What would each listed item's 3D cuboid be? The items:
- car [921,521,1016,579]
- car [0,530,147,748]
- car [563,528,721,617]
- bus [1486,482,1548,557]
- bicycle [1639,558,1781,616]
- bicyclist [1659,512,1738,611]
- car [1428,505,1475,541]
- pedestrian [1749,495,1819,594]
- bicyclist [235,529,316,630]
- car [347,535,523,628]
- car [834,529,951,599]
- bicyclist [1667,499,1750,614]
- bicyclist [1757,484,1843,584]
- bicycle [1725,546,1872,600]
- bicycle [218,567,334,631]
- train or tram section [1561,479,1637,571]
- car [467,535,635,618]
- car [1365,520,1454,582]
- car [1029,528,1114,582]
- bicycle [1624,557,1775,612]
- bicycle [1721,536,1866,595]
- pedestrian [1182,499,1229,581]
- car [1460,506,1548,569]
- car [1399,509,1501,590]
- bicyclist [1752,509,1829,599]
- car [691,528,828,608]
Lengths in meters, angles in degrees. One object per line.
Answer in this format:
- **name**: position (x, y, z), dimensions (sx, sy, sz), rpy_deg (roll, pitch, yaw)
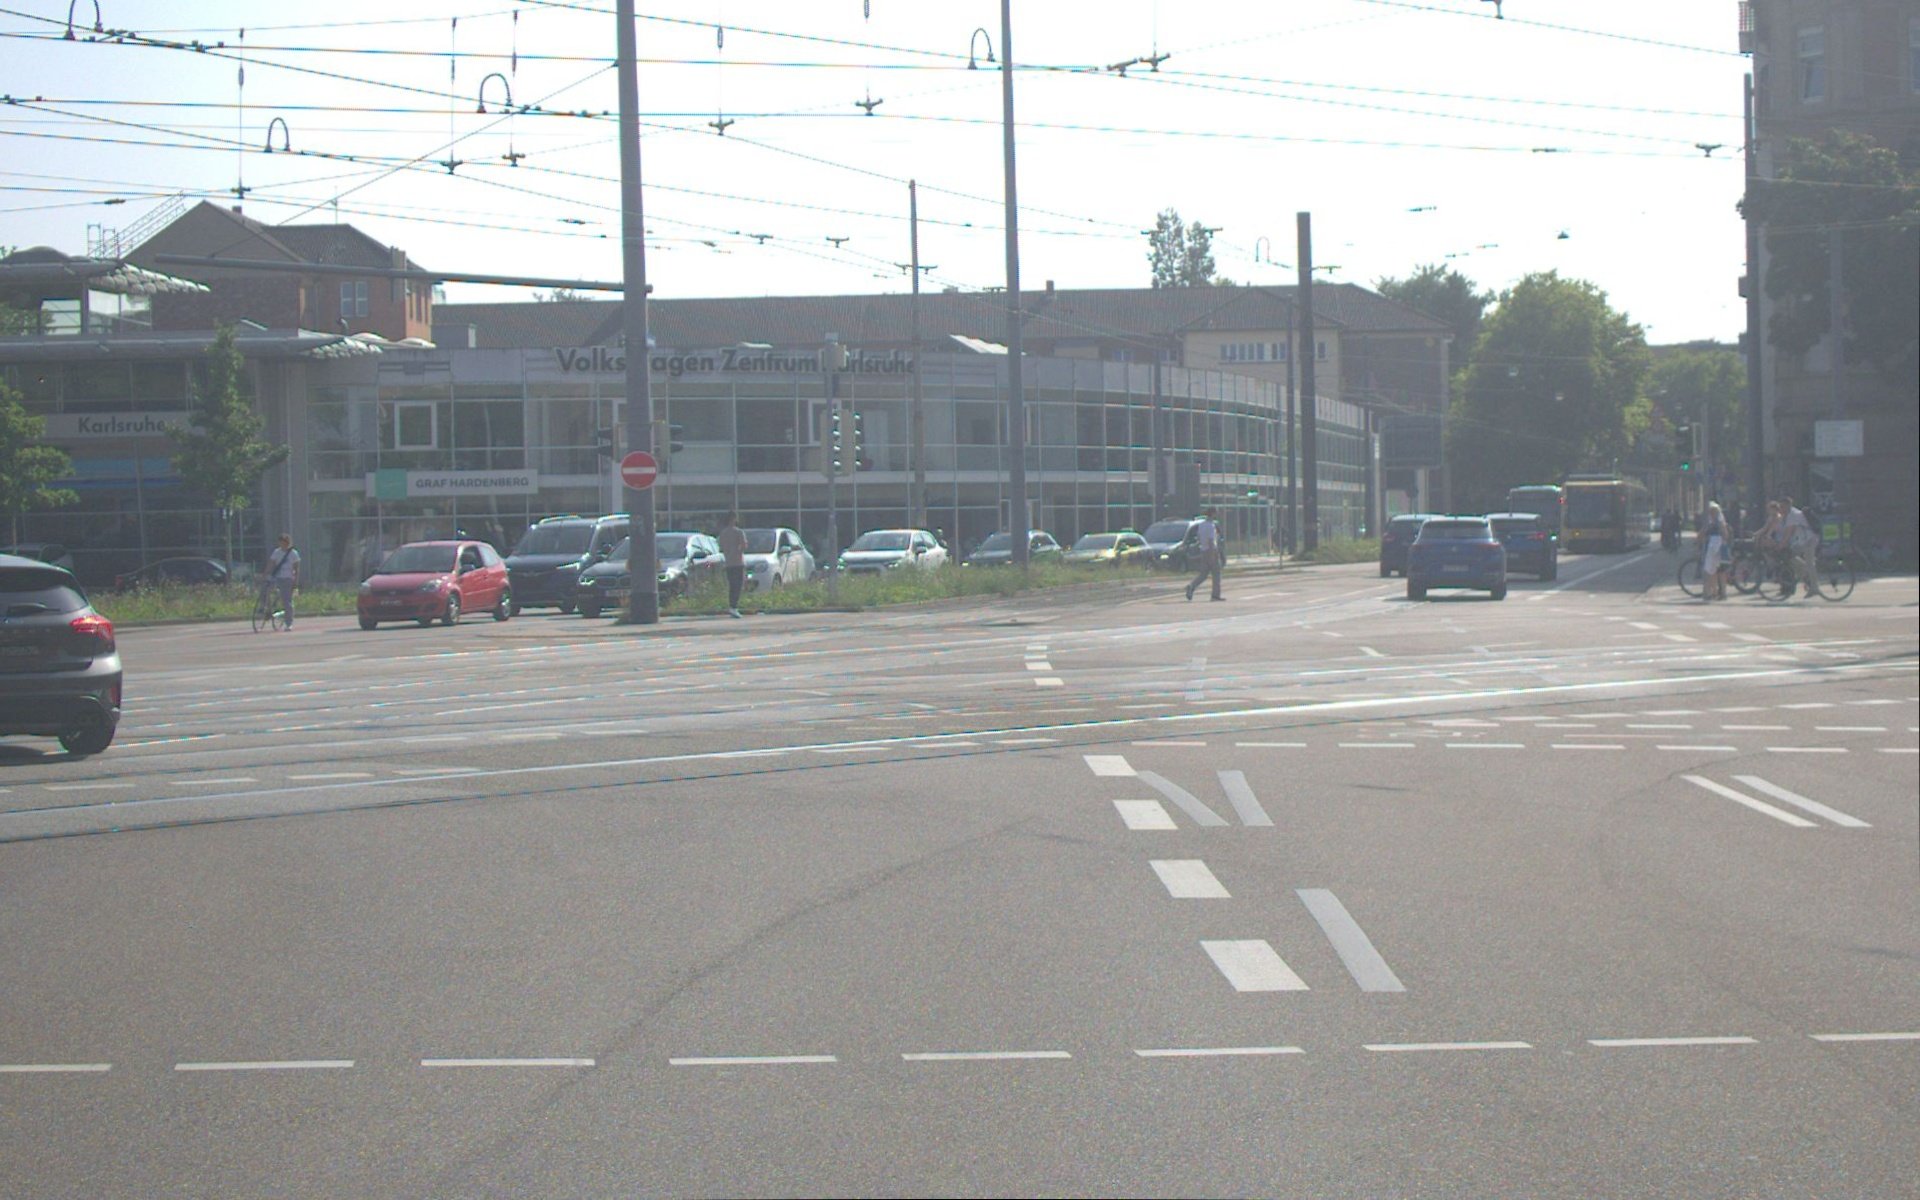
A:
- **car**: position (0.259, -1.368, 92.732), dimensions (1.615, 1.470, 3.998), rpy_deg (-3, 1, 14)
- **car**: position (-7.558, 0.240, 24.679), dimensions (1.832, 1.430, 4.550), rpy_deg (-1, 1, -34)
- **car**: position (-5.682, -0.516, 61.852), dimensions (1.615, 1.470, 3.998), rpy_deg (-3, 1, 13)
- **bus**: position (28.216, -4.078, 174.686), dimensions (2.921, 3.606, 16.741), rpy_deg (0, 1, 9)
- **bicycle**: position (13.425, -0.245, 61.479), dimensions (2.619, 0.961, 1.093), rpy_deg (-2, 2, -40)
- **bicyclist**: position (13.697, -0.716, 63.748), dimensions (0.934, 1.793, 1.093), rpy_deg (-2, 1, -26)
- **car**: position (21.629, -3.377, 151.166), dimensions (1.615, 1.470, 3.998), rpy_deg (-3, 1, 14)
- **pedestrian**: position (15.036, -1.013, 62.747), dimensions (0.925, 1.791, 0.859), rpy_deg (-2, 2, -43)
- **bicyclist**: position (-11.866, -0.362, 59.637), dimensions (0.958, 1.742, 1.165), rpy_deg (0, 1, 14)
- **car**: position (-9.063, -0.350, 59.678), dimensions (1.615, 1.470, 3.998), rpy_deg (-3, 1, 13)
- **car**: position (-1.487, -0.829, 77.416), dimensions (1.615, 1.470, 3.998), rpy_deg (-3, 1, 14)
- **bicyclist**: position (13.380, -0.786, 61.443), dimensions (0.934, 2.017, 1.092), rpy_deg (-2, 2, -39)
- **bicyclist**: position (14.593, -1.148, 59.733), dimensions (0.934, 1.702, 1.092), rpy_deg (-2, 2, -39)
- **bicycle**: position (15.956, -0.517, 65.415), dimensions (2.618, 0.961, 1.093), rpy_deg (-2, 1, -26)
- **bicycle**: position (-11.853, -0.023, 59.690), dimensions (0.958, 1.053, 2.607), rpy_deg (0, 1, 14)
- **train or tram section**: position (26.978, -3.192, 144.807), dimensions (2.656, 3.686, 10.584), rpy_deg (-1, 1, 13)
- **car**: position (-7.928, -0.485, 66.979), dimensions (1.961, 1.470, 3.998), rpy_deg (-3, 1, 13)
- **car**: position (11.776, -1.304, 89.845), dimensions (1.826, 1.530, 4.410), rpy_deg (-1, 1, 14)
- **car**: position (3.264, -1.315, 99.837), dimensions (1.615, 1.470, 3.998), rpy_deg (-3, 1, 14)
- **bicycle**: position (13.717, -0.297, 63.766), dimensions (2.618, 0.961, 1.093), rpy_deg (-2, 1, -26)
- **bicycle**: position (14.468, -0.612, 59.626), dimensions (2.619, 0.961, 1.093), rpy_deg (-2, 2, -40)
- **pedestrian**: position (4.572, -1.114, 64.019), dimensions (0.777, 1.498, 0.710), rpy_deg (-1, 1, -1)
- **car**: position (12.976, -1.506, 81.791), dimensions (1.826, 1.423, 4.410), rpy_deg (-1, 1, 12)
- **car**: position (9.318, -0.982, 65.252), dimensions (1.826, 1.423, 4.411), rpy_deg (-1, 1, 9)
- **bicyclist**: position (15.779, -0.878, 65.315), dimensions (0.934, 1.674, 1.093), rpy_deg (-2, 1, -26)
- **car**: position (-3.959, -0.664, 68.361), dimensions (1.615, 1.470, 3.998), rpy_deg (-3, 1, 13)
